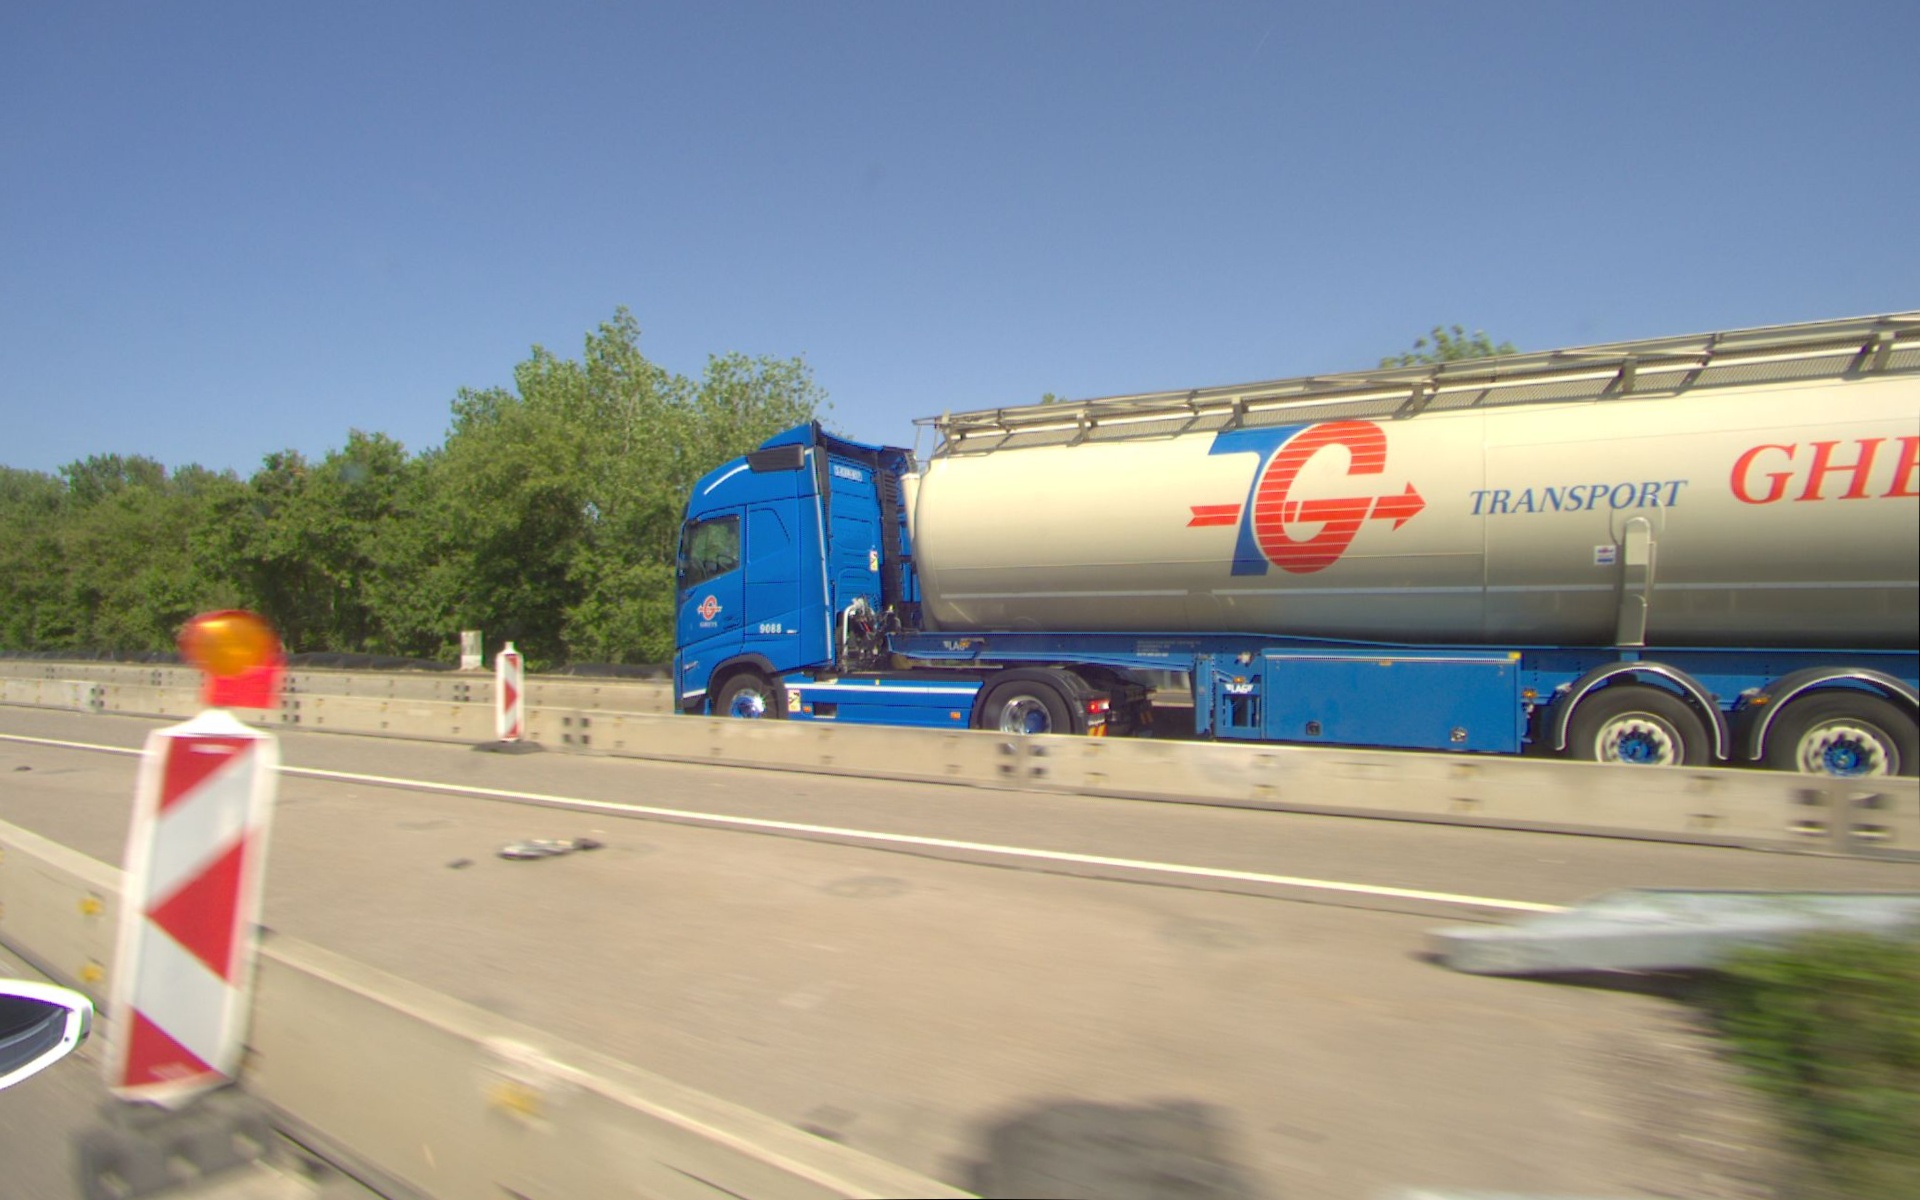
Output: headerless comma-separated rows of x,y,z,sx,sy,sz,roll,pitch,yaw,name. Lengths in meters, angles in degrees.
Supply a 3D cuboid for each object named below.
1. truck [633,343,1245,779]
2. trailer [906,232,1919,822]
-0.396,-0.299,12.411,7.185,4.156,2.693,-1,-1,27,truck
5.510,-0.463,9.329,12.417,4.191,2.693,-1,-1,28,trailer
